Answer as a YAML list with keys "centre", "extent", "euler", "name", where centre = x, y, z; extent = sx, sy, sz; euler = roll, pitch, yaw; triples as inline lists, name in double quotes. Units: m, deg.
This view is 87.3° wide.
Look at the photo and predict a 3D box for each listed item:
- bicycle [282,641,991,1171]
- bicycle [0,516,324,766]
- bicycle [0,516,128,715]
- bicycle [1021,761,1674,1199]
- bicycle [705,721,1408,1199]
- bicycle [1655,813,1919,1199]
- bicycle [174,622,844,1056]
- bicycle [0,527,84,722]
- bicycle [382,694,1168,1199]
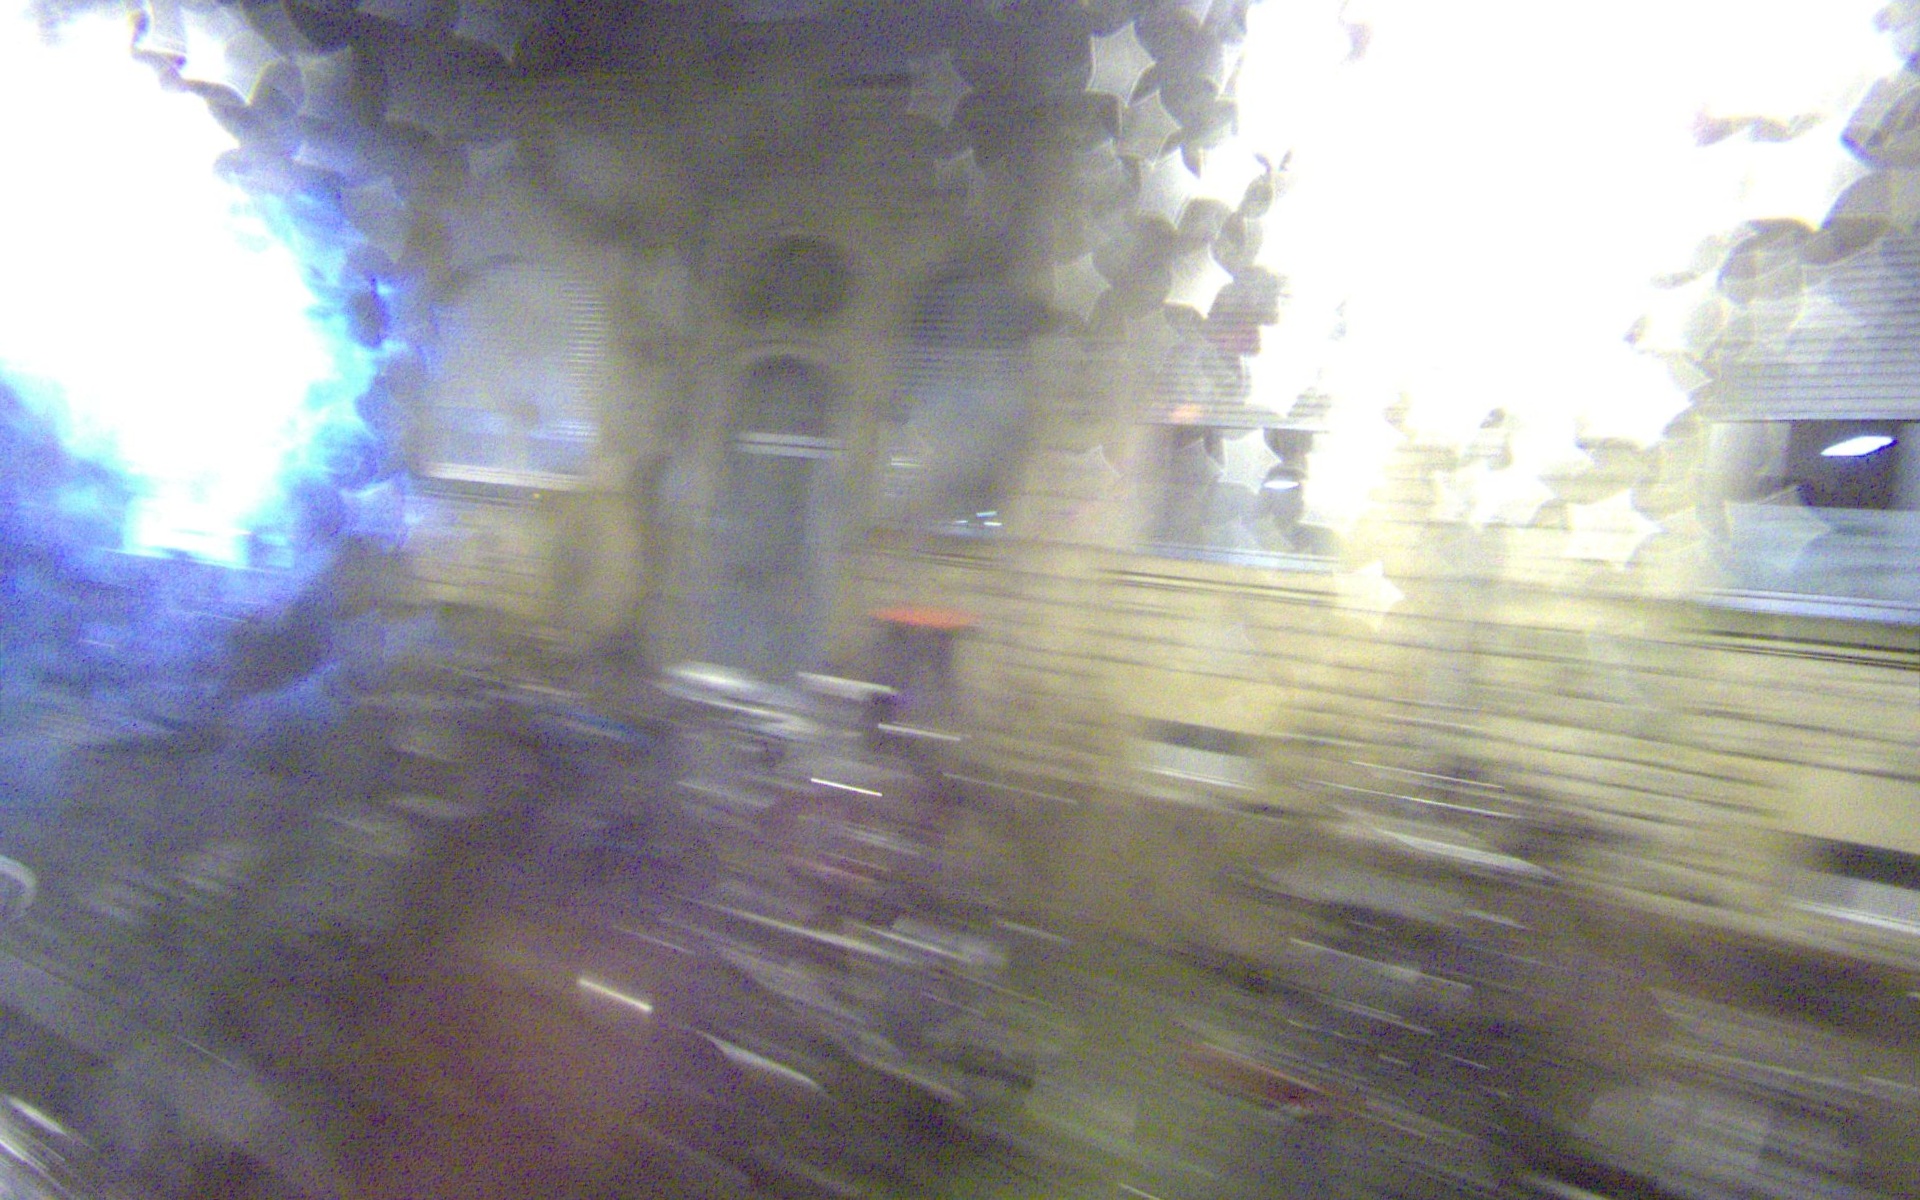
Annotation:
- centre: [-0.790, 0.712, 3.068]
  extent: [0.633, 1.047, 1.966]
  euler: [7, 1, 38]
  name: "bicycle"
- centre: [-4.455, 0.169, 5.336]
  extent: [0.707, 1.101, 1.825]
  euler: [6, 1, 10]
  name: "bicycle"
- centre: [-5.531, 0.068, 5.348]
  extent: [0.631, 1.067, 1.972]
  euler: [6, 1, -5]
  name: "bicycle"
- centre: [0.939, 0.952, 2.036]
  extent: [0.633, 1.019, 1.966]
  euler: [7, 1, 38]
  name: "bicycle"
- centre: [0.415, 0.878, 2.400]
  extent: [0.633, 1.019, 1.966]
  euler: [7, 1, 38]
  name: "bicycle"
- centre: [1.578, 1.032, 1.681]
  extent: [0.633, 1.019, 1.966]
  euler: [7, 1, 38]
  name: "bicycle"
- centre: [-1.365, 0.660, 3.455]
  extent: [0.633, 1.019, 1.966]
  euler: [7, 1, 38]
  name: "bicycle"
- centre: [-5.764, 0.072, 5.031]
  extent: [0.633, 1.019, 1.966]
  euler: [7, 1, 38]
  name: "bicycle"
- centre: [-0.256, 0.803, 2.567]
  extent: [0.633, 1.019, 1.966]
  euler: [7, 1, 38]
  name: "bicycle"
